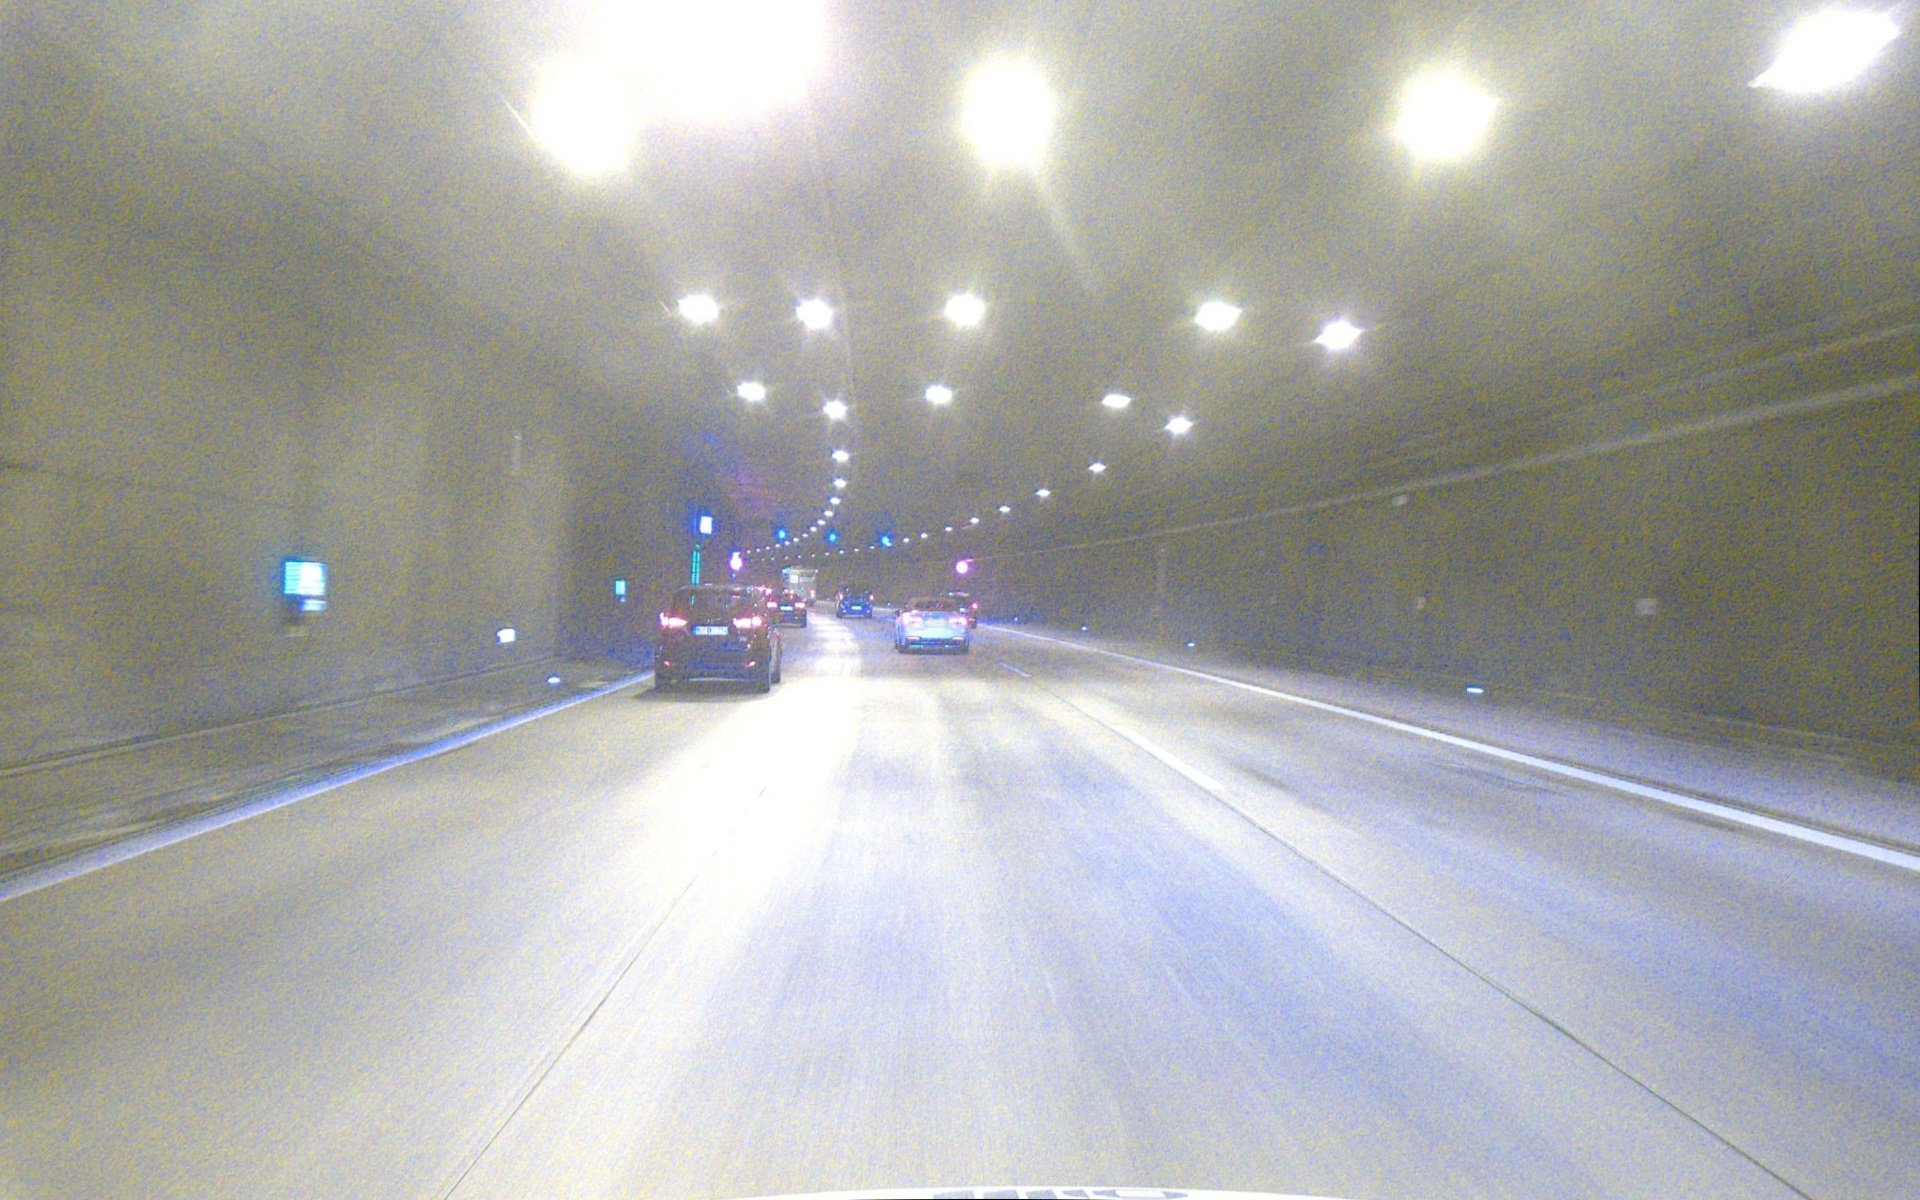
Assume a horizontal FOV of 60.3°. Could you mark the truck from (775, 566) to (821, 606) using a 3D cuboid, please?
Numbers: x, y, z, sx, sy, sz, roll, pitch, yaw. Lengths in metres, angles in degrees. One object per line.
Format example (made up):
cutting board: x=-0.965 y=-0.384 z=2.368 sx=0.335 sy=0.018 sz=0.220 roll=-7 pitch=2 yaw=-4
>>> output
truck: x=-13.746 y=-1.232 z=139.520 sx=3.027 sy=3.167 sz=10.005 roll=2 pitch=1 yaw=-10

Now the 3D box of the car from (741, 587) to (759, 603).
car: x=-24.198 y=-0.522 z=190.255 sx=1.956 sy=1.785 sz=3.992 roll=2 pitch=0 yaw=-8

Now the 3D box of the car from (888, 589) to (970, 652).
car: x=-0.746 y=0.490 z=42.791 sx=1.952 sy=1.509 sz=4.001 roll=1 pitch=0 yaw=1

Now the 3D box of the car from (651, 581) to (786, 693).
car: x=-3.734 y=0.536 z=26.161 sx=1.750 sy=1.626 sz=3.799 roll=0 pitch=0 yaw=-3

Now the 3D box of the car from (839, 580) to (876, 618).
car: x=-5.621 y=-0.053 z=90.378 sx=1.954 sy=2.006 sz=3.996 roll=1 pitch=0 yaw=-5

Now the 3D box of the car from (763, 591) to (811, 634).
car: x=-7.297 y=0.506 z=69.498 sx=1.767 sy=1.713 sz=3.991 roll=1 pitch=0 yaw=-9

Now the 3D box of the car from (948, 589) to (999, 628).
car: x=0.569 y=0.352 z=71.901 sx=1.804 sy=1.630 sz=3.996 roll=1 pitch=0 yaw=-5

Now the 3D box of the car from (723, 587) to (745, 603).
car: x=-23.685 y=-0.527 z=173.312 sx=1.958 sy=1.557 sz=3.989 roll=2 pitch=0 yaw=-11

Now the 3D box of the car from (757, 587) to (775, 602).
car: x=-24.132 y=-0.703 z=205.880 sx=1.958 sy=1.785 sz=3.989 roll=2 pitch=0 yaw=-11
